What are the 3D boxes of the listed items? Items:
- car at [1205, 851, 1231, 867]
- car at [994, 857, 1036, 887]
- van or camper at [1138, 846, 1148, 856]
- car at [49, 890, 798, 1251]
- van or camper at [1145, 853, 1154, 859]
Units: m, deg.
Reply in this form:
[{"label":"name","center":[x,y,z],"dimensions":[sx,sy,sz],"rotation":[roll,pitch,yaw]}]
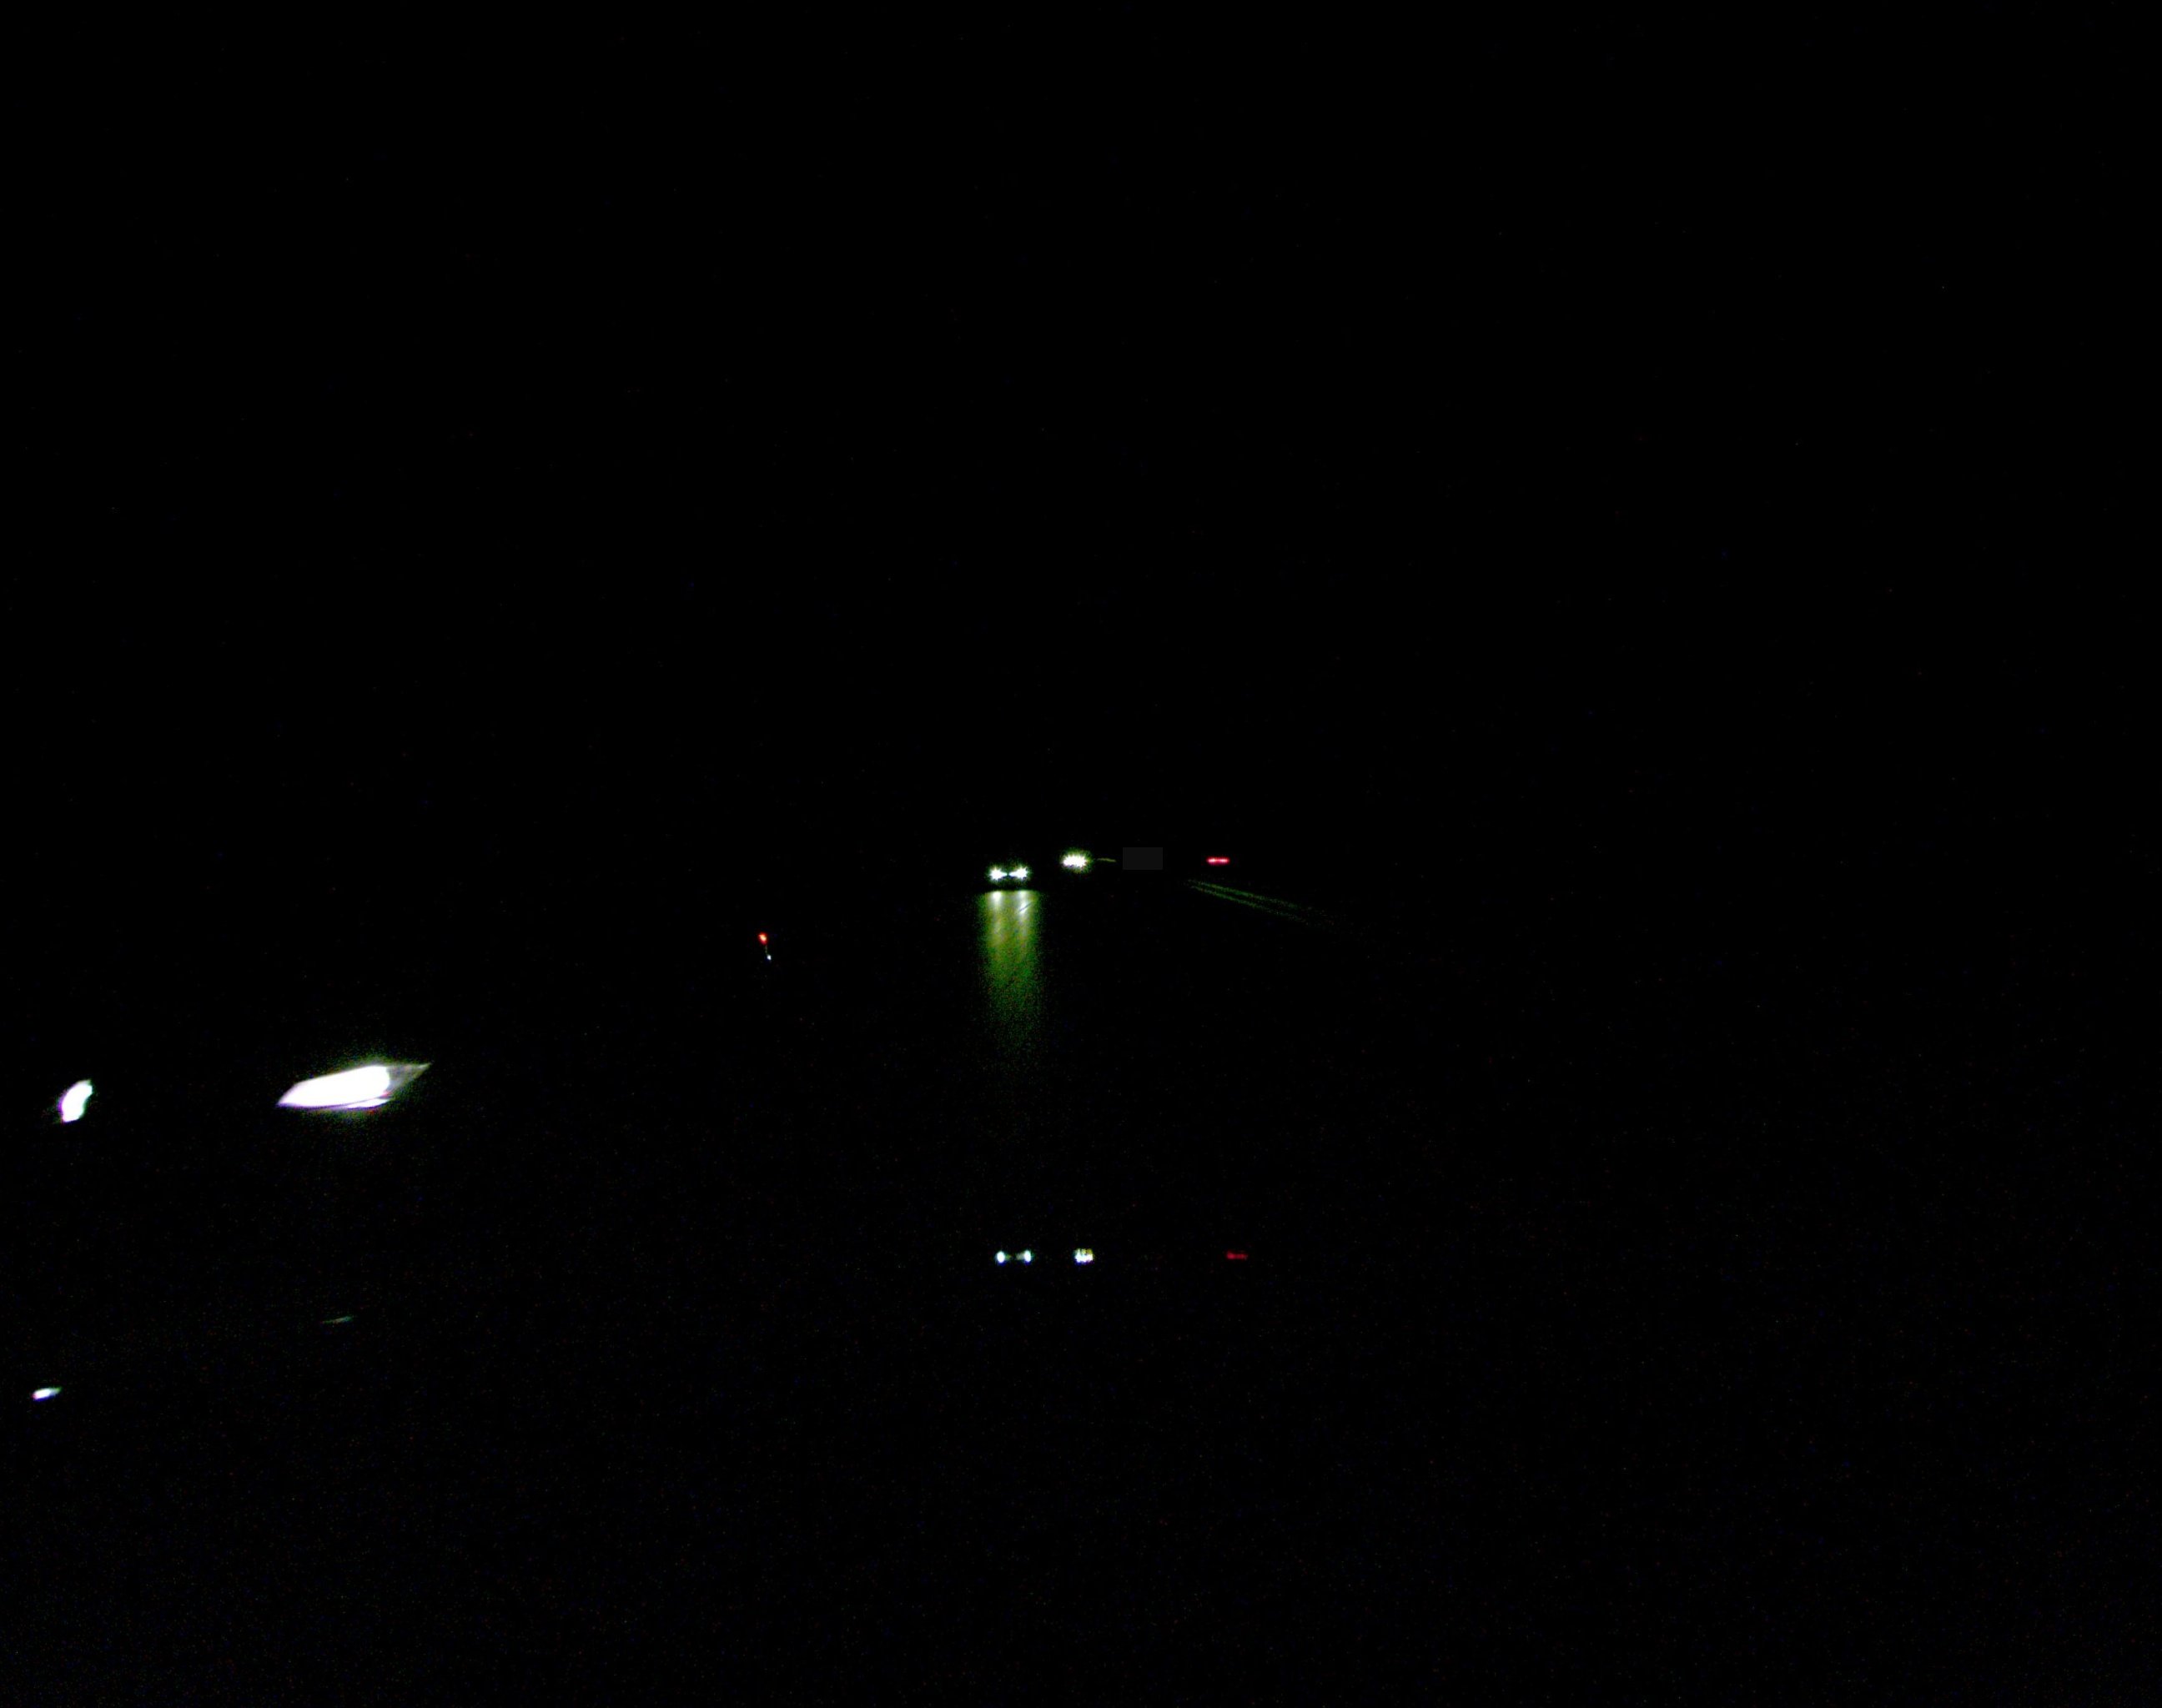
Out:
[{"label":"car","center":[14.843,0.526,82.774],"dimensions":[1.998,1.628,5.075],"rotation":[2,0,2]},{"label":"car","center":[-3.602,0.954,42.075],"dimensions":[1.795,1.532,4.225],"rotation":[-2,0,1]},{"label":"van or camper","center":[17.401,-0.893,212.657],"dimensions":[2.335,2.616,7.777],"rotation":[2,1,1]},{"label":"car","center":[-3.753,1.084,5.535],"dimensions":[1.690,1.405,4.225],"rotation":[-1,0,1]},{"label":"van or camper","center":[16.599,0.491,183.969],"dimensions":[1.784,1.433,5.102],"rotation":[1,1,1]}]
